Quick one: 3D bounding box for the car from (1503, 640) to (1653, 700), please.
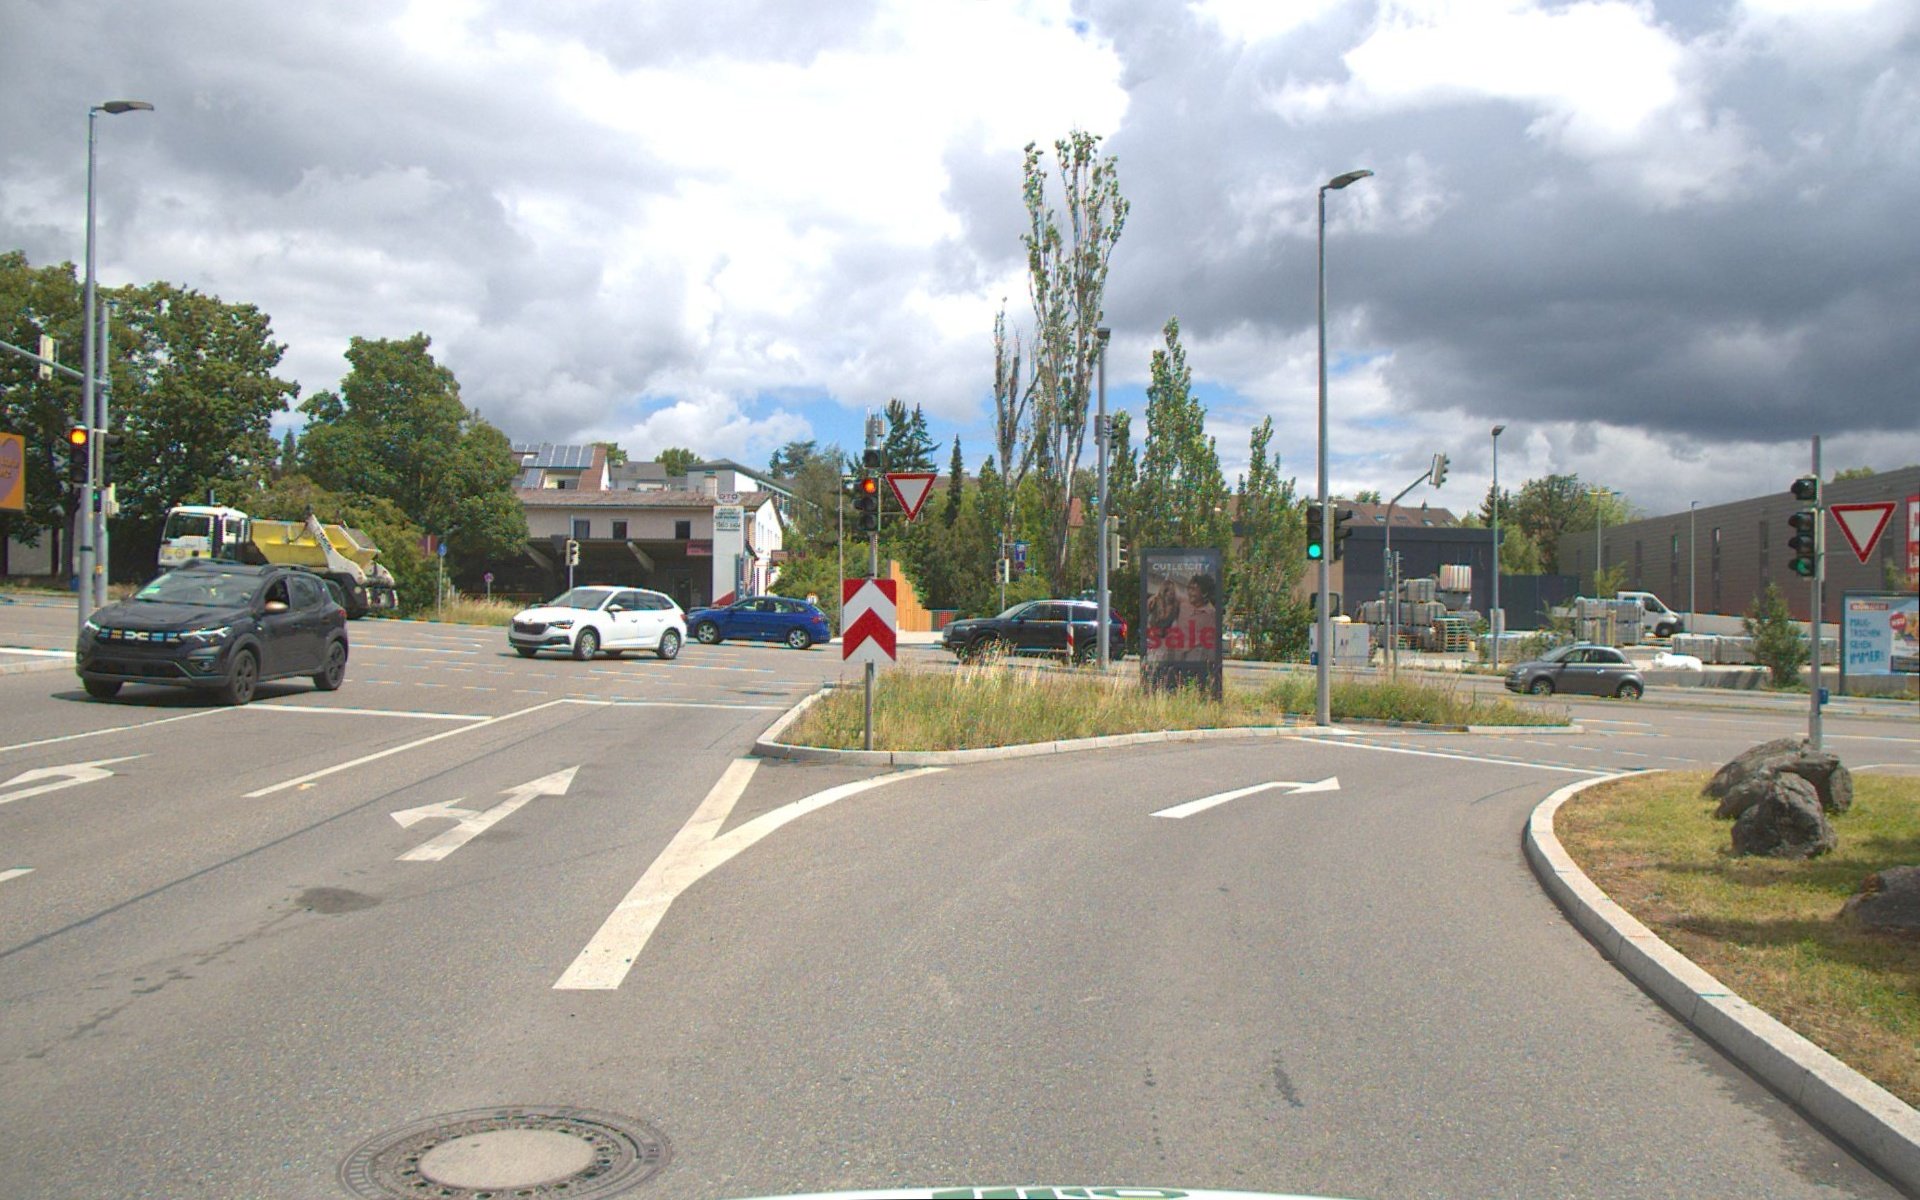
[{"bbox_3d":[16.464,1.860,44.160,3.438,1.486,1.586,-1,0,5],"label":"car"}]

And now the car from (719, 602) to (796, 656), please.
[{"bbox_3d":[-8.150,1.162,66.260,1.968,2.049,3.969,-1,-1,-24],"label":"car"}]

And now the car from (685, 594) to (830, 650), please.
[{"bbox_3d":[-5.787,0.634,47.679,3.905,1.425,1.697,2,0,0],"label":"car"}]

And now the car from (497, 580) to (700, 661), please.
[{"bbox_3d":[-7.377,0.438,34.174,1.586,1.495,4.372,4,0,28],"label":"car"}]

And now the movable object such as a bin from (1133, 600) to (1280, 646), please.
[{"bbox_3d":[11.874,1.111,79.550,6.775,2.049,2.298,-2,0,14],"label":"movable object such as a bin"}]

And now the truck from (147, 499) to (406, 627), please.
[{"bbox_3d":[-21.172,-1.115,51.507,6.802,3.641,2.847,-2,-1,0],"label":"truck"}]

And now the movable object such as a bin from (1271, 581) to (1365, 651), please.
[{"bbox_3d":[14.330,0.645,66.174,3.333,2.582,2.153,3,-1,19],"label":"movable object such as a bin"}]

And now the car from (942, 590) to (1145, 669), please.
[{"bbox_3d":[2.156,0.753,43.017,4.880,1.719,1.905,3,0,-13],"label":"car"}]

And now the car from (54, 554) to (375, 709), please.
[{"bbox_3d":[-8.674,0.319,19.677,1.747,1.605,4.166,1,0,3],"label":"car"}]

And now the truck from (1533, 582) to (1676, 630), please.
[{"bbox_3d":[32.018,0.310,82.355,6.420,2.183,2.001,-2,-1,16],"label":"truck"}]
